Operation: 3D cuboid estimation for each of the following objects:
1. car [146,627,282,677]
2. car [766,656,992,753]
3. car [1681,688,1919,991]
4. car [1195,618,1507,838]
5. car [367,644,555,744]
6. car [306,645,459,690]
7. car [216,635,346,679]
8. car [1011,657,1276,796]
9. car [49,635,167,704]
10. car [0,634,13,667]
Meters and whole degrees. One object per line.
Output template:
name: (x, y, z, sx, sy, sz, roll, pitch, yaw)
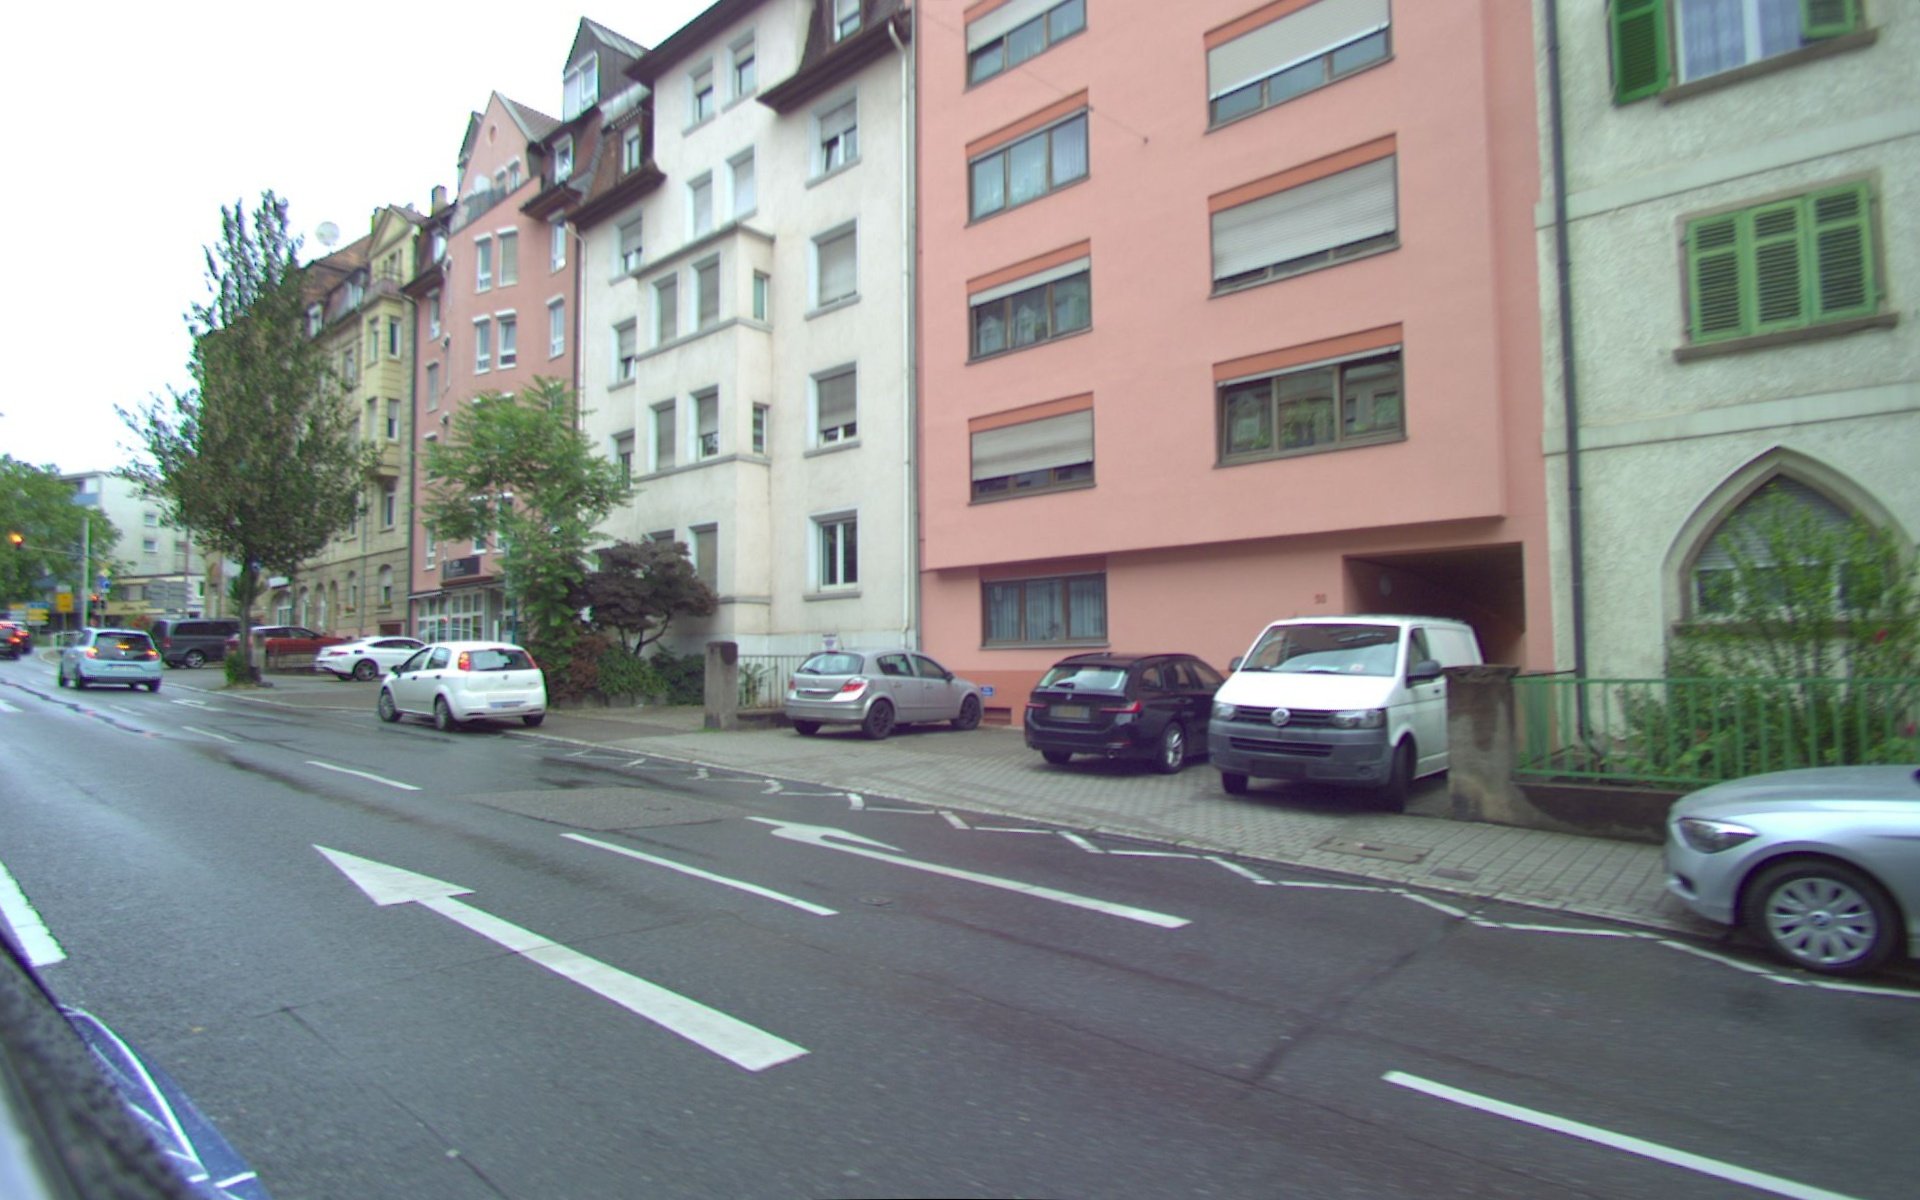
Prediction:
car: (-29.170, 2.050, 39.665, 1.865, 1.861, 3.880, -1, -4, 39)
car: (-1.249, 1.691, 17.157, 1.722, 1.408, 3.885, -1, -4, 35)
car: (6.082, 1.217, 4.836, 4.136, 1.429, 1.663, -2, -4, 42)
car: (4.547, 1.189, 11.301, 1.917, 1.919, 4.672, -1, -2, 39)
car: (-8.798, 1.553, 17.736, 3.651, 1.483, 1.648, -1, -2, 41)
car: (-18.296, 2.143, 32.174, 1.646, 1.307, 3.877, -1, -4, 42)
car: (-26.419, 2.229, 39.480, 1.592, 1.634, 3.877, -1, -4, 42)
car: (2.513, 1.503, 13.191, 1.758, 1.408, 3.880, -1, -2, 39)
car: (-21.791, 1.713, 25.835, 3.651, 1.560, 1.749, -1, -2, 41)
car: (-45.053, 2.325, 46.816, 3.654, 1.468, 1.646, -1, -2, 45)
